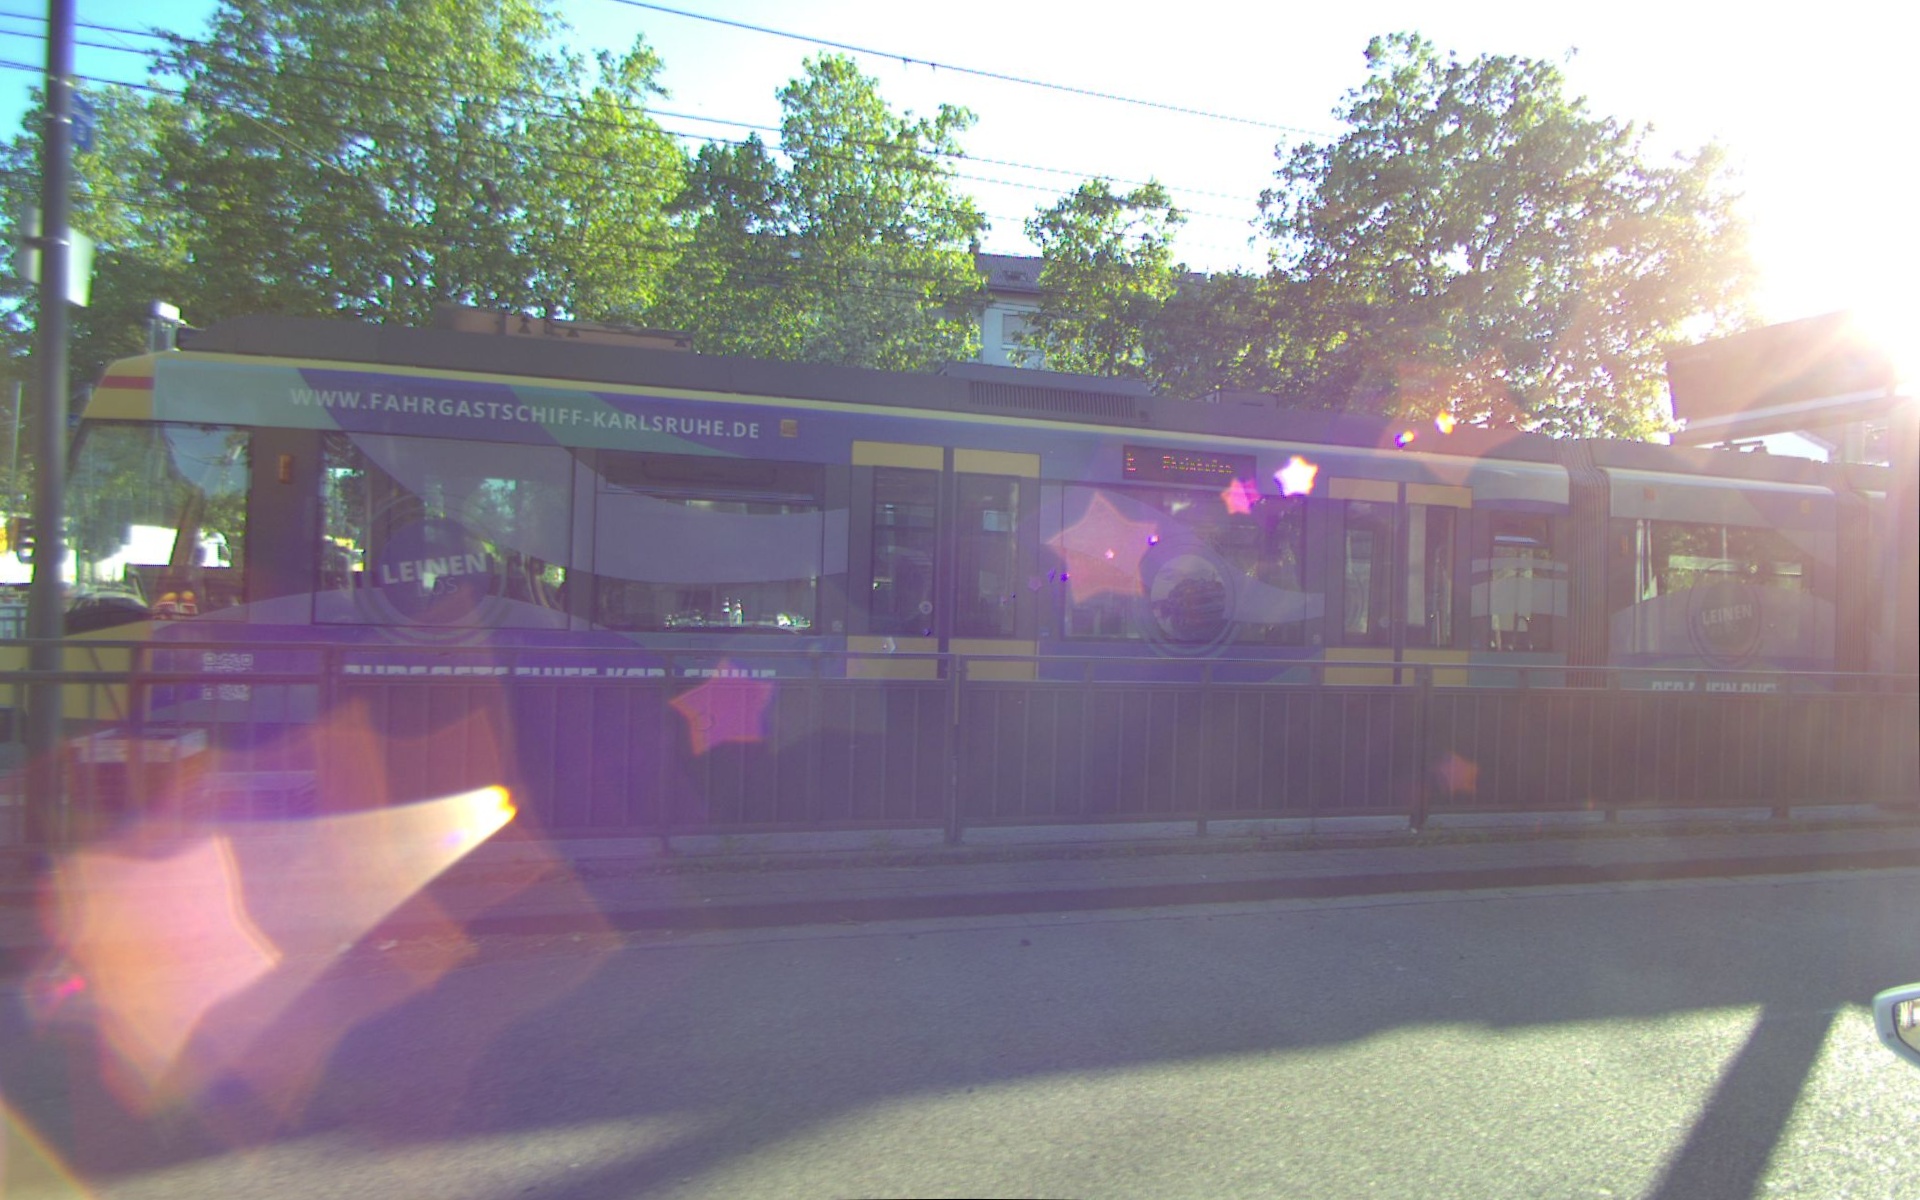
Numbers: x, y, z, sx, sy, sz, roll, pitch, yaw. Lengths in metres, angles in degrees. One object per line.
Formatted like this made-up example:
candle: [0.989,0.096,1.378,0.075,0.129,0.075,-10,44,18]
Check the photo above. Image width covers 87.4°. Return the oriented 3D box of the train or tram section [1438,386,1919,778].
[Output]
train or tram section: [12.087,0.035,12.152,12.571,3.596,2.729,2,0,-15]

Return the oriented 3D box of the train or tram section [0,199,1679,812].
train or tram section: [-0.237,-0.358,8.786,13.172,3.580,2.850,2,0,-15]

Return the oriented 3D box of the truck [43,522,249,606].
truck: [-41.519,-1.662,51.891,2.846,3.840,10.425,2,0,-5]

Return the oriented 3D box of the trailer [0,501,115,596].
trailer: [-40.607,-2.140,42.206,2.840,3.848,9.241,2,0,-4]
